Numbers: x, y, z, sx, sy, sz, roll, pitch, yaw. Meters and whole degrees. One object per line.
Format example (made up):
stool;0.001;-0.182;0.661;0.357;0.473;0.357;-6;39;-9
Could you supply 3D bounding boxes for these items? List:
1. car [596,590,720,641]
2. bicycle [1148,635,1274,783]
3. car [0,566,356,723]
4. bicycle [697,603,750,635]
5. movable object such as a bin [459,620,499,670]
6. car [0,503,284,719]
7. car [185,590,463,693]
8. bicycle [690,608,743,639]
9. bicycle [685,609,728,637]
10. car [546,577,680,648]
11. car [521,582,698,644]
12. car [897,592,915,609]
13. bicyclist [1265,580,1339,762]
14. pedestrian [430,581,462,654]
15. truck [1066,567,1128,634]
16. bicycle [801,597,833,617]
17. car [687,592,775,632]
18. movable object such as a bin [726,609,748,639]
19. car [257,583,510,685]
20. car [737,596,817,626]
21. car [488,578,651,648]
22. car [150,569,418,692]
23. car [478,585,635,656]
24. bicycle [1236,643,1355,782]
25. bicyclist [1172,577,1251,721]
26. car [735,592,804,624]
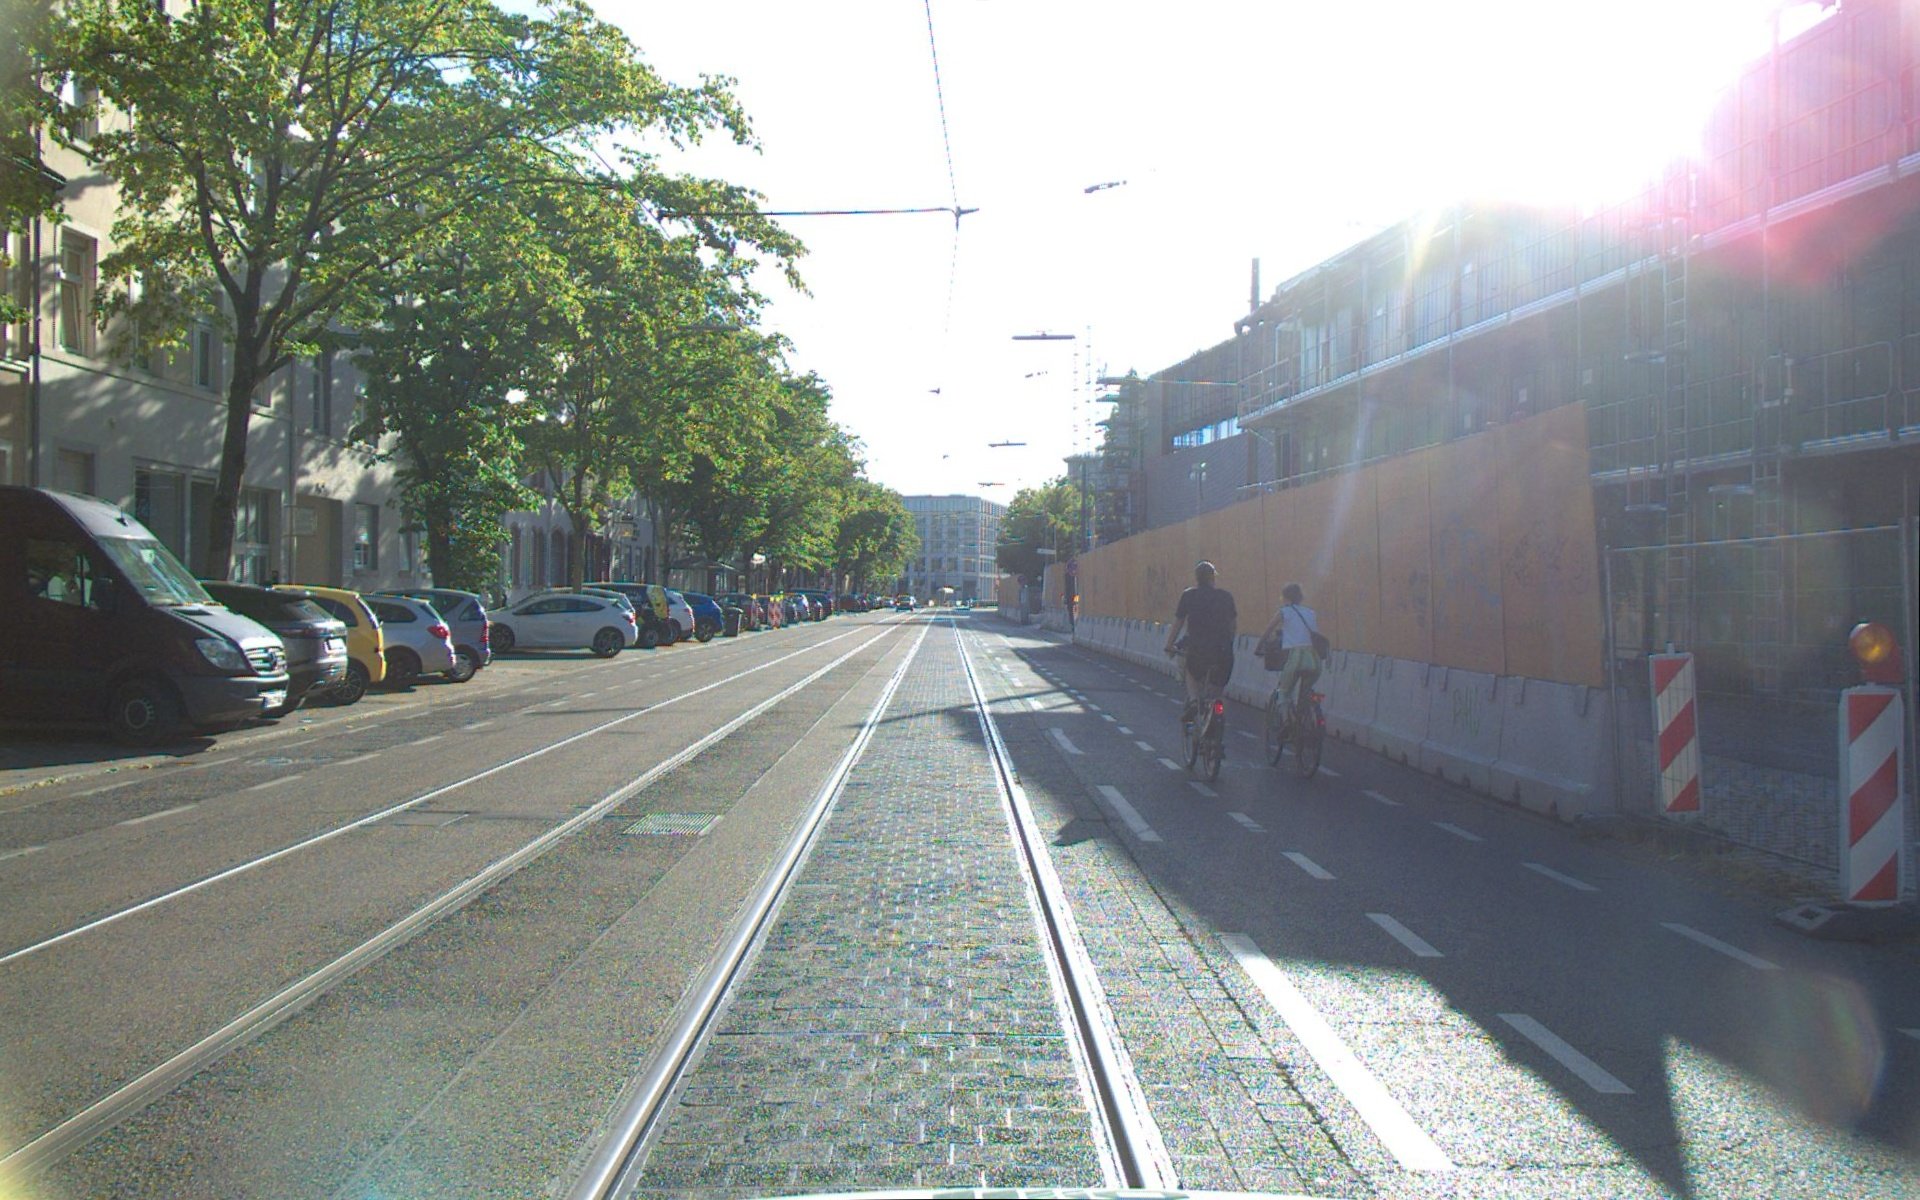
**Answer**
car;-10.137;0.508;55.592;3.861;1.637;1.552;0;0;-38
bicycle;2.245;0.940;15.047;0.654;1.175;2.274;2;0;-3
car;-10.075;0.503;19.988;4.732;1.754;2.162;1;0;-3
bicycle;-9.429;0.741;66.025;1.962;1.106;0.567;5;0;2
movable object such as a bin;-9.609;0.896;33.037;0.609;0.961;0.670;1;0;-2
car;-9.804;0.115;17.593;4.348;2.155;2.162;0;0;-3
car;-10.255;0.642;26.981;4.091;1.579;1.695;0;0;-17
bicycle;-9.514;0.922;64.696;1.927;1.098;0.568;3;0;2
bicycle;-9.646;0.887;63.014;1.571;1.005;0.388;2;0;-11
car;-10.071;0.400;48.072;3.405;1.875;1.712;3;-4;-35
car;-10.665;0.397;50.582;4.898;1.826;2.175;1;0;-42
car;-5.754;0.040;176.381;1.889;1.658;4.248;-2;1;-1
bicyclist;3.156;0.643;15.297;0.545;1.641;0.576;0;0;-3
pedestrian;-13.270;0.439;42.696;0.630;1.870;0.624;0;0;1
truck;6.484;0.030;78.780;2.468;2.960;5.507;-2;0;1
bicycle;-8.917;0.461;103.123;1.935;1.164;0.490;3;-1;-19
car;-10.396;0.546;75.064;3.570;1.580;1.655;2;1;-27
movable object such as a bin;-8.398;0.906;62.292;0.670;1.096;0.710;4;0;1
car;-10.315;0.595;29.784;3.905;1.706;1.702;1;0;0
car;-10.299;0.614;93.084;4.055;1.539;1.825;2;0;-27
car;-10.701;0.359;45.406;3.946;1.685;1.792;3;0;-31
car;-9.602;0.432;23.550;3.331;1.579;1.370;1;2;-32
car;-10.070;0.516;41.238;3.583;1.556;1.875;4;-1;-20
bicycle;3.129;1.015;15.614;0.546;1.146;2.274;0;0;-3
bicyclist;2.233;0.428;14.709;0.638;1.259;0.353;0;0;-3
car;-10.386;0.437;90.183;3.325;1.519;1.598;3;0;-29
